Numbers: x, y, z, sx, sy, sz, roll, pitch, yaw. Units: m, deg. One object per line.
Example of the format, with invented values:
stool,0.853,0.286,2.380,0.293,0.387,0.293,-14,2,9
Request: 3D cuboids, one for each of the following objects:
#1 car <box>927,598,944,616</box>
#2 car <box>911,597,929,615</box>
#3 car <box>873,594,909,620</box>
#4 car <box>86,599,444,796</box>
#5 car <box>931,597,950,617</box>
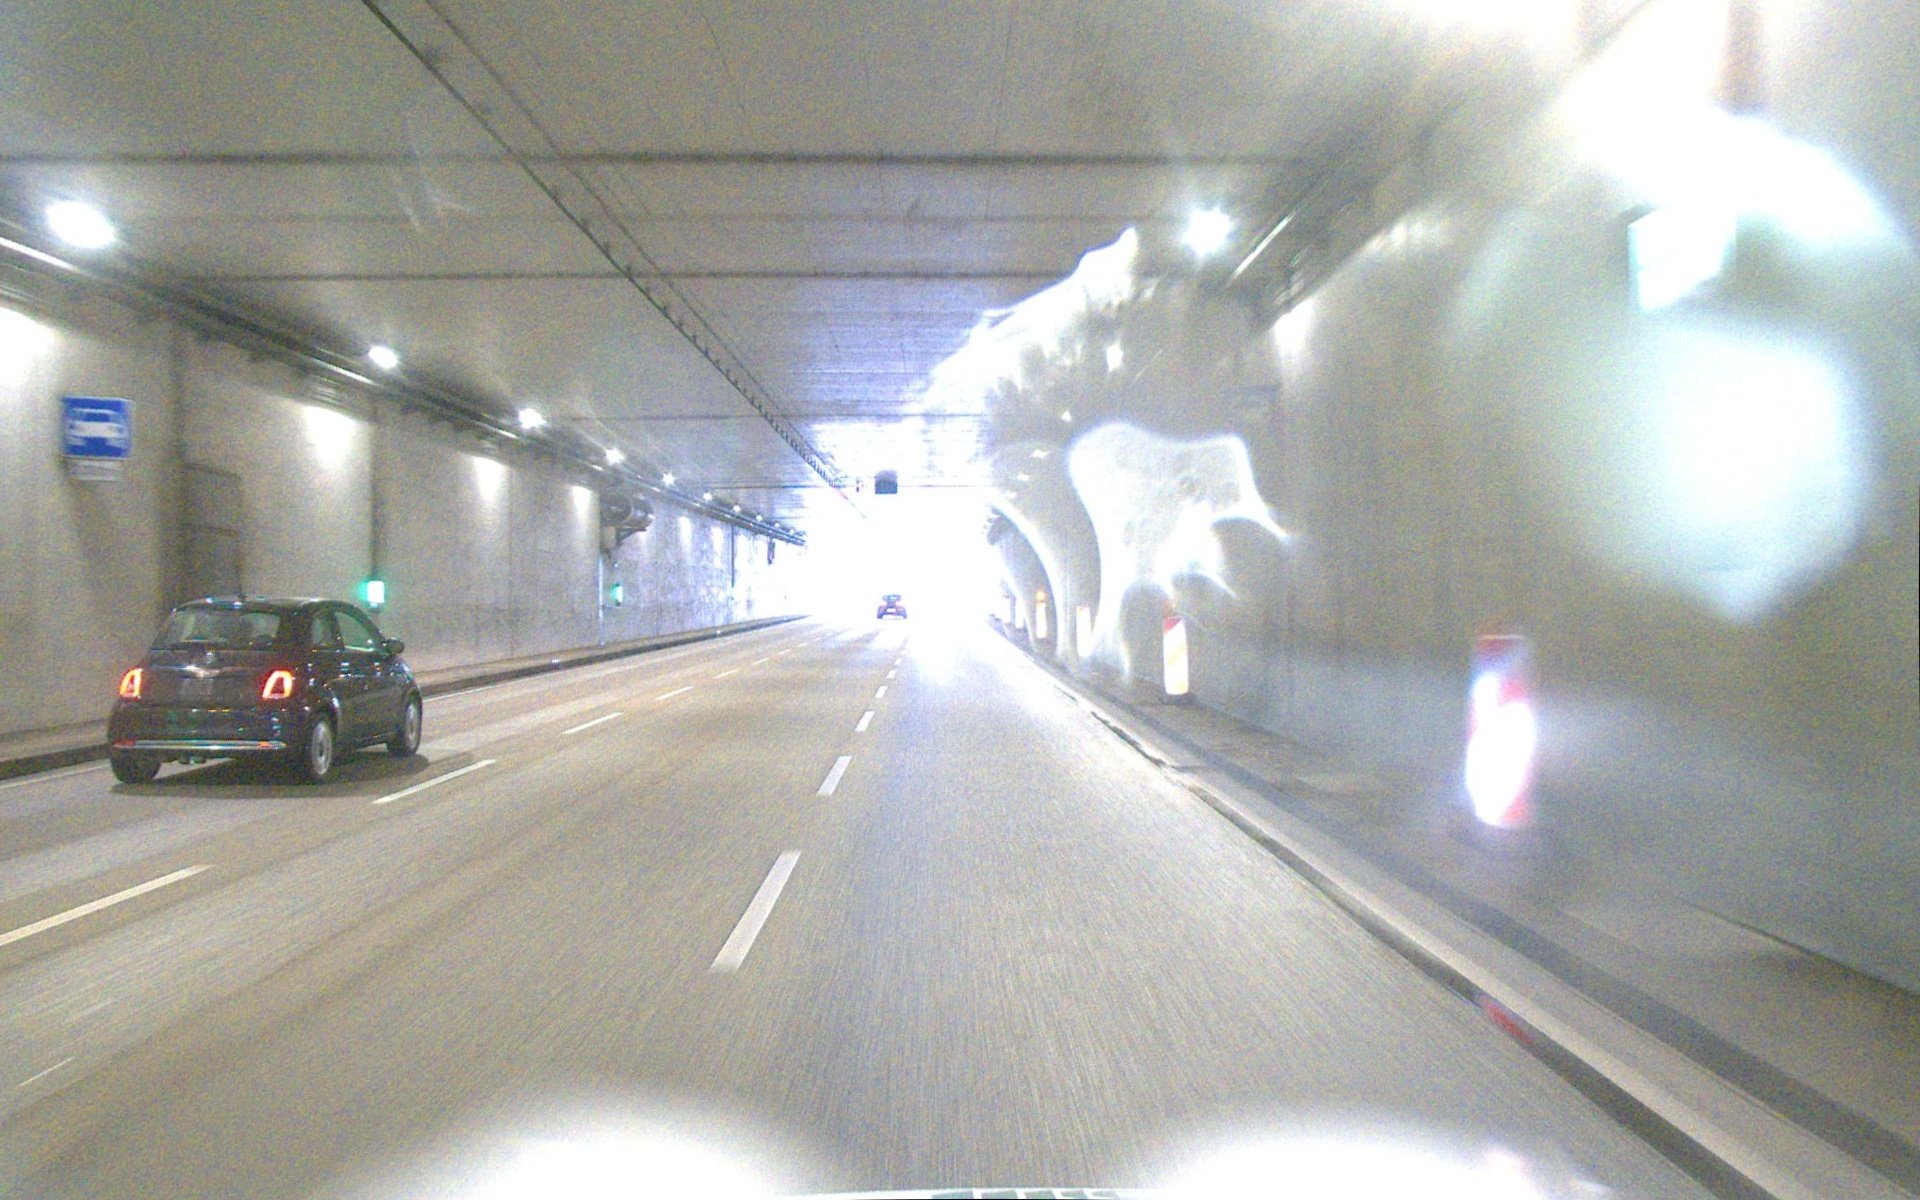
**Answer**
car,-2.931,0.859,195.165,1.953,2.049,3.998,-1,-1,-2
car,-4.549,0.696,188.858,1.953,2.049,3.998,-1,-1,-2
car,-4.094,0.381,97.269,1.954,1.473,4.311,1,0,-4
car,-5.791,0.744,14.241,1.579,1.480,3.572,0,0,0
car,-1.960,0.718,167.936,1.953,2.049,3.999,0,-1,-1
